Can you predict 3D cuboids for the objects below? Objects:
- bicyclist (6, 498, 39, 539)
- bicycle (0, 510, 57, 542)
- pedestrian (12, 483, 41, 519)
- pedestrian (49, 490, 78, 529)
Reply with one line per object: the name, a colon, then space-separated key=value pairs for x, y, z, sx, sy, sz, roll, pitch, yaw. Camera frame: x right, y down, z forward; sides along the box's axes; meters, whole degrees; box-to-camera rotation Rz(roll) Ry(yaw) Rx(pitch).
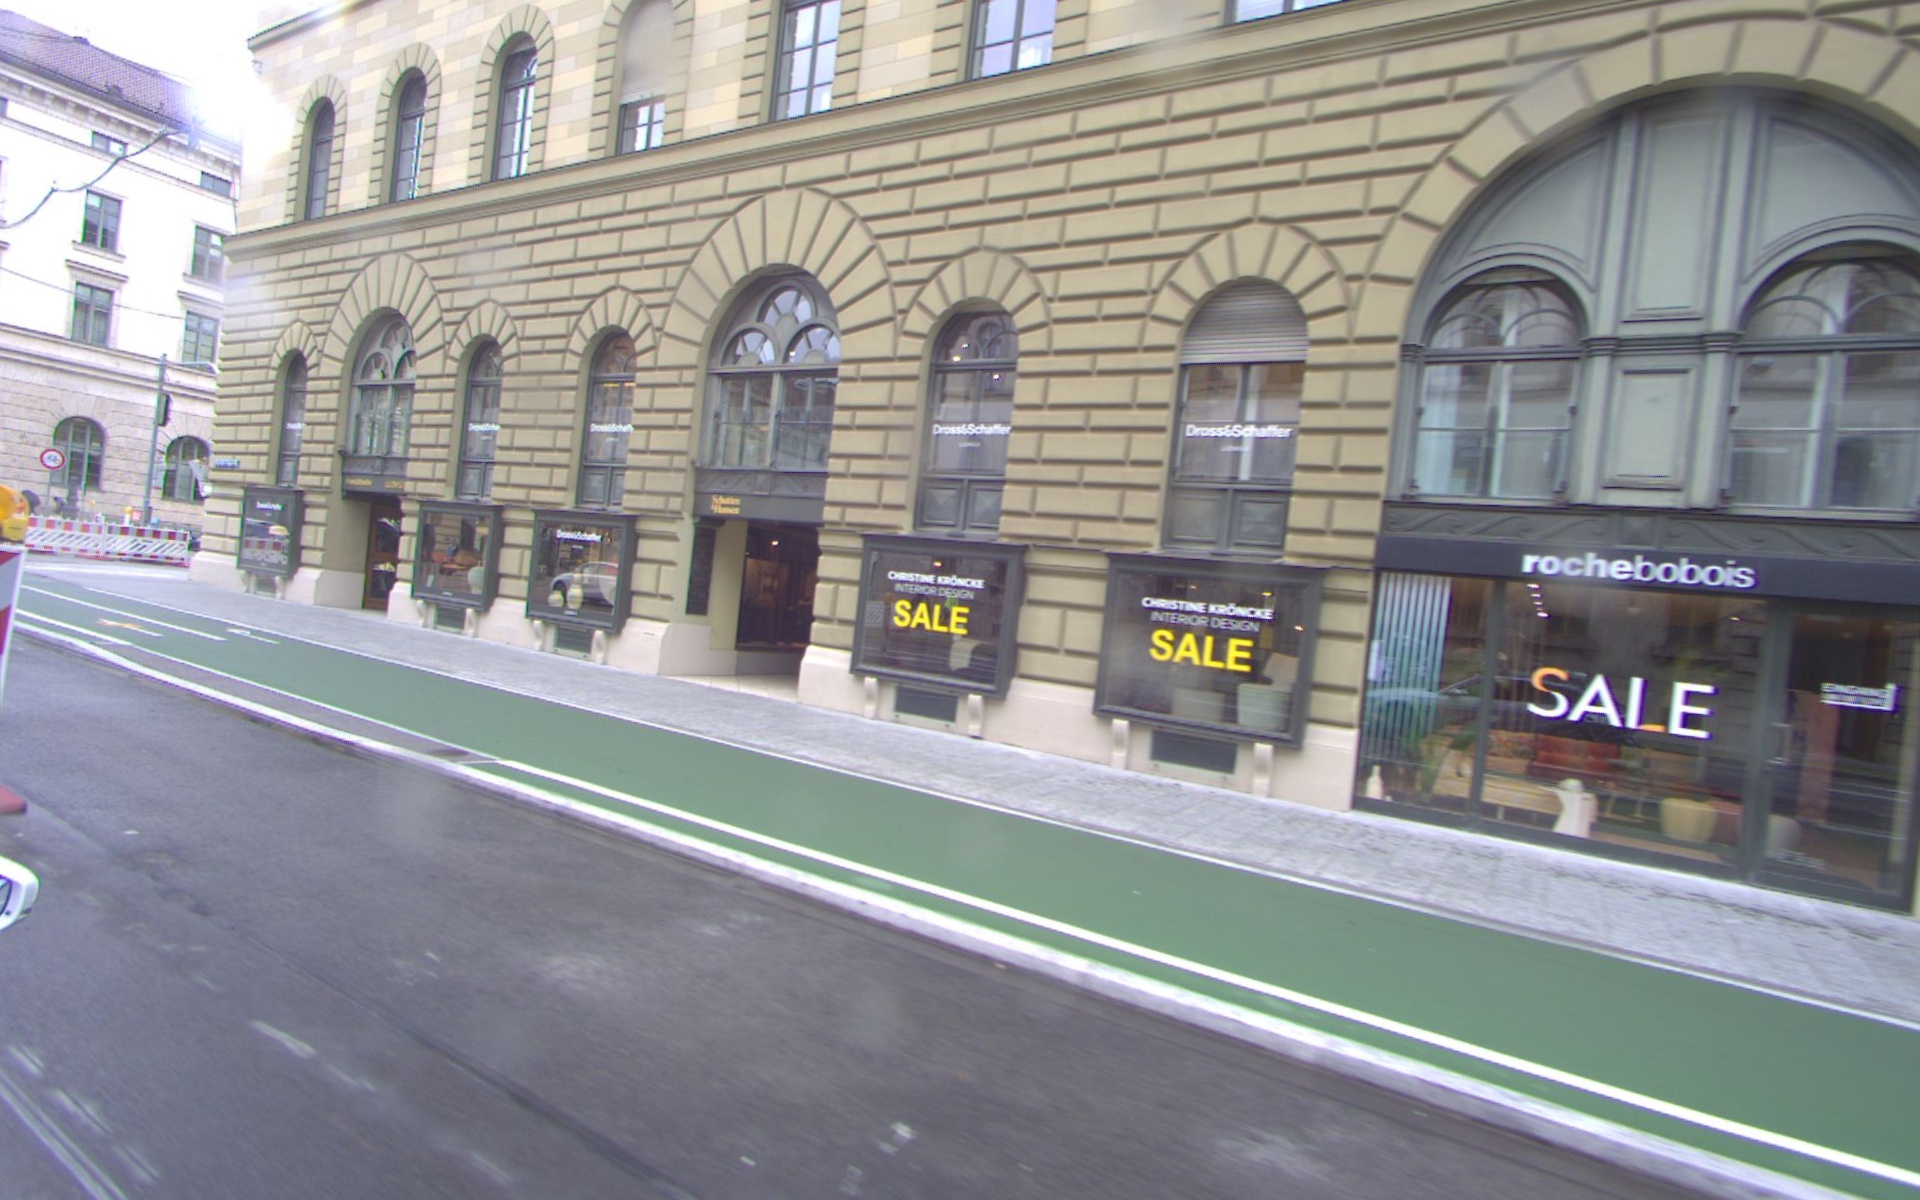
bicyclist: x=-40.048 y=-3.483 z=42.975 sx=0.782 sy=1.634 sz=0.744 roll=7 pitch=0 yaw=35
bicycle: x=-40.052 y=-3.182 z=43.017 sx=0.782 sy=1.053 sz=1.960 roll=7 pitch=-1 yaw=34
pedestrian: x=-43.980 y=-4.663 z=47.386 sx=0.806 sy=1.546 sz=0.666 roll=7 pitch=0 yaw=31
pedestrian: x=-42.686 y=-4.314 z=47.891 sx=0.807 sy=1.714 sz=0.716 roll=7 pitch=0 yaw=33
